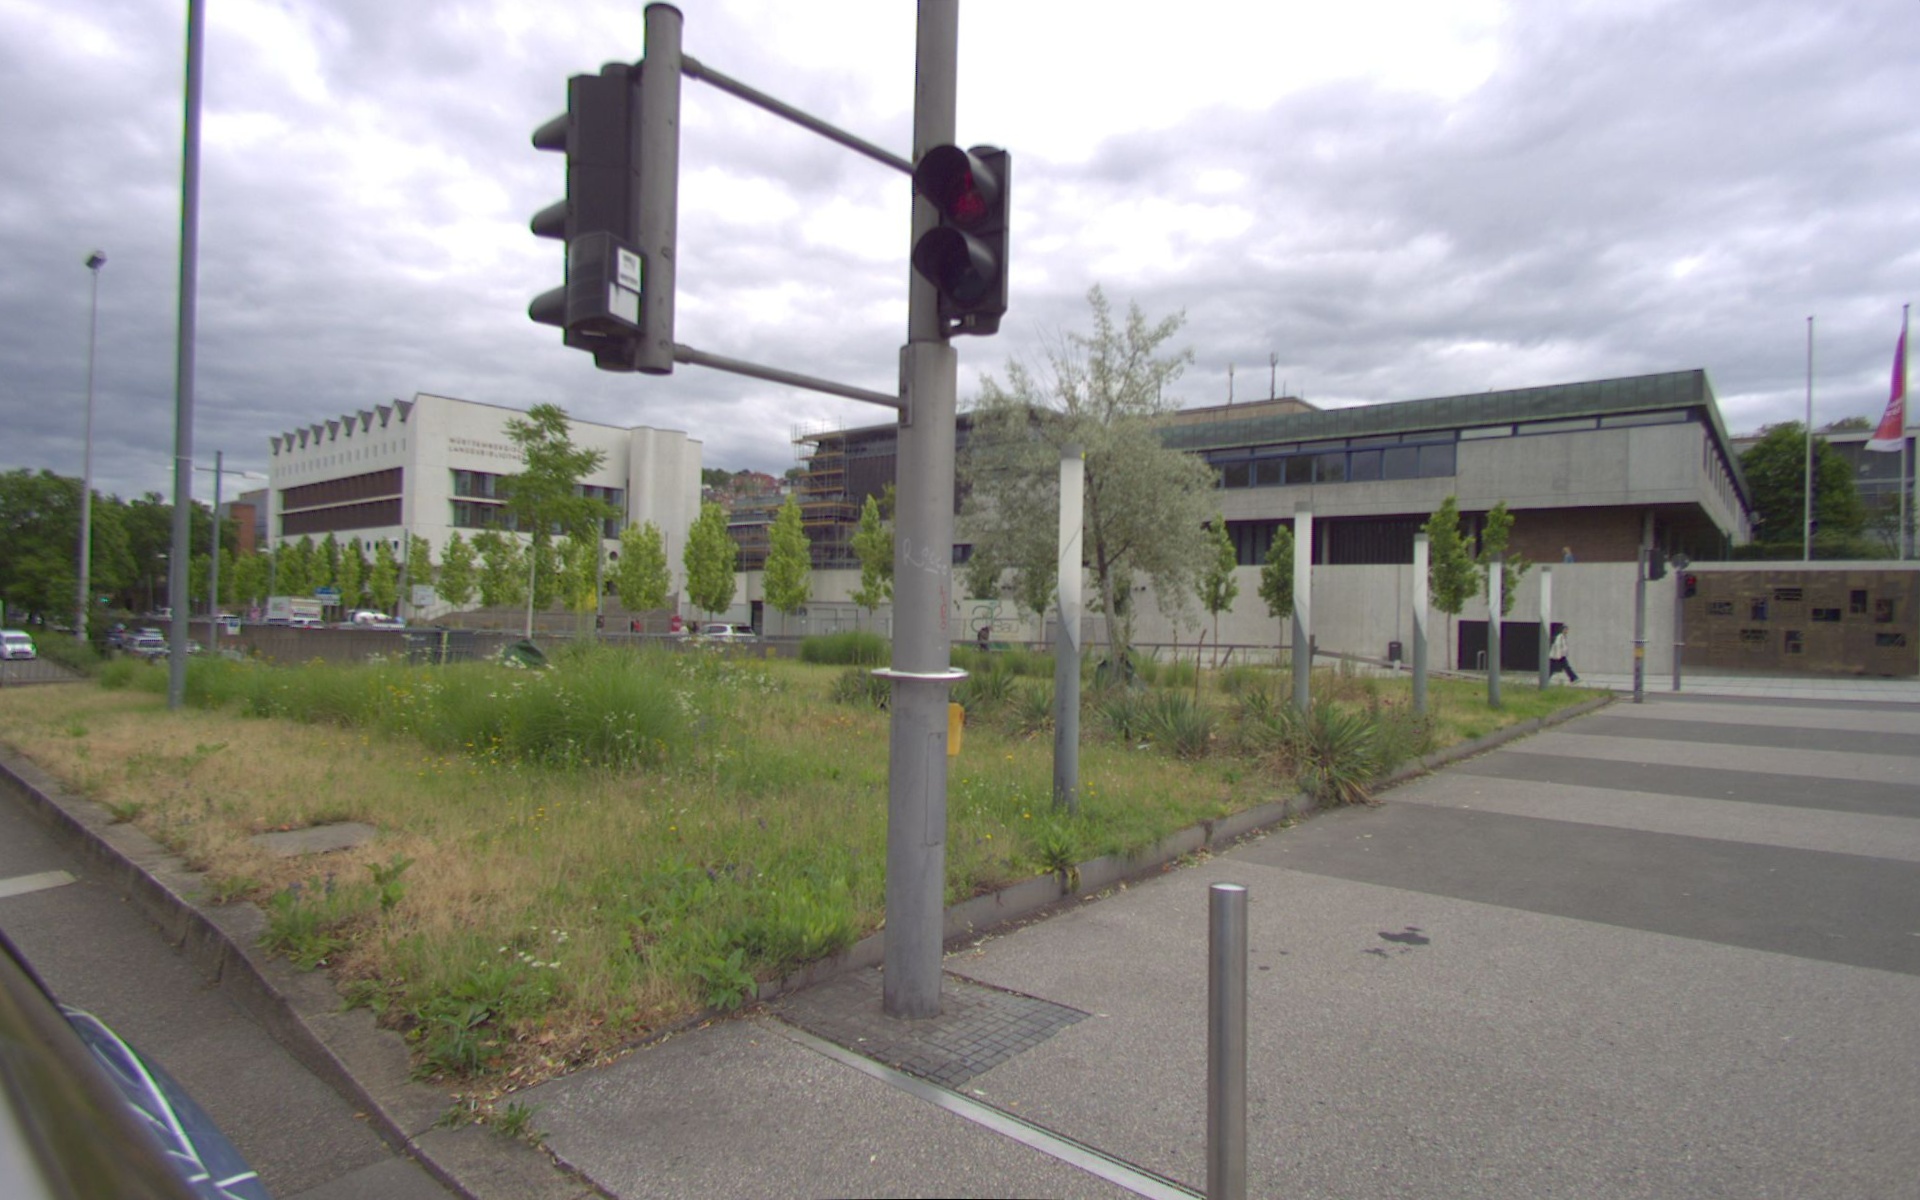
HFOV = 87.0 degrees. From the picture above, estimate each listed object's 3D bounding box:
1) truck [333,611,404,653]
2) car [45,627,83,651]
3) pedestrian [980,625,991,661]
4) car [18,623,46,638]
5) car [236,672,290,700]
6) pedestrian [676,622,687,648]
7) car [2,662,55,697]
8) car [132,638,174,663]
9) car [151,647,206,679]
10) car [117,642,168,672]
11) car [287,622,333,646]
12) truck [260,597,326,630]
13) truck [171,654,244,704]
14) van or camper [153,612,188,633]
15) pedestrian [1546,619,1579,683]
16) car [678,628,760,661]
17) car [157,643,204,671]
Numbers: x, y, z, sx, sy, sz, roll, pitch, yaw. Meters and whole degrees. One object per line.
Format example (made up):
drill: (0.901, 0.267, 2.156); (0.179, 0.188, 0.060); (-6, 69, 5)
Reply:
truck: (-42.479, 2.312, 72.584); (7.077, 2.838, 2.437); (-3, -2, 42)
car: (-84.515, 3.679, 95.462); (4.849, 2.148, 1.973); (-2, -5, 41)
pedestrian: (1.115, 1.875, 44.057); (0.316, 1.533, 0.314); (-1, -1, 34)
car: (-95.175, 3.165, 103.779); (3.360, 1.497, 1.653); (-1, -3, 41)
car: (-45.896, 5.632, 66.595); (3.997, 1.564, 1.973); (-1, -1, 41)
pedestrian: (-16.436, 2.079, 59.661); (0.460, 1.533, 0.424); (-1, -1, 34)
car: (-58.127, 4.912, 63.127); (3.998, 2.029, 1.973); (-3, -3, 41)
car: (-67.511, 4.241, 84.640); (3.998, 2.029, 1.973); (-2, -5, 41)
car: (-50.637, 4.074, 65.592); (3.998, 2.029, 1.973); (-2, -5, 41)
car: (-58.682, 4.068, 72.620); (4.330, 2.029, 1.973); (-2, -5, 41)
car: (-51.771, 2.711, 80.588); (4.255, 1.830, 1.973); (-3, -2, 41)
truck: (-60.442, 1.245, 91.633); (7.250, 2.809, 3.197); (-3, -2, 41)
truck: (-44.931, 4.620, 60.377); (5.976, 2.711, 2.294); (-2, -2, 42)
van or camper: (-79.769, 2.309, 102.201); (4.554, 2.029, 1.973); (-3, -2, 41)
pedestrian: (16.898, 1.420, 28.392); (0.663, 1.747, 0.534); (-2, -2, 41)
car: (-12.061, 2.221, 50.484); (4.611, 1.586, 1.700); (-3, -2, 42)
car: (-60.191, 4.381, 78.142); (3.998, 2.029, 1.973); (-2, -5, 41)
